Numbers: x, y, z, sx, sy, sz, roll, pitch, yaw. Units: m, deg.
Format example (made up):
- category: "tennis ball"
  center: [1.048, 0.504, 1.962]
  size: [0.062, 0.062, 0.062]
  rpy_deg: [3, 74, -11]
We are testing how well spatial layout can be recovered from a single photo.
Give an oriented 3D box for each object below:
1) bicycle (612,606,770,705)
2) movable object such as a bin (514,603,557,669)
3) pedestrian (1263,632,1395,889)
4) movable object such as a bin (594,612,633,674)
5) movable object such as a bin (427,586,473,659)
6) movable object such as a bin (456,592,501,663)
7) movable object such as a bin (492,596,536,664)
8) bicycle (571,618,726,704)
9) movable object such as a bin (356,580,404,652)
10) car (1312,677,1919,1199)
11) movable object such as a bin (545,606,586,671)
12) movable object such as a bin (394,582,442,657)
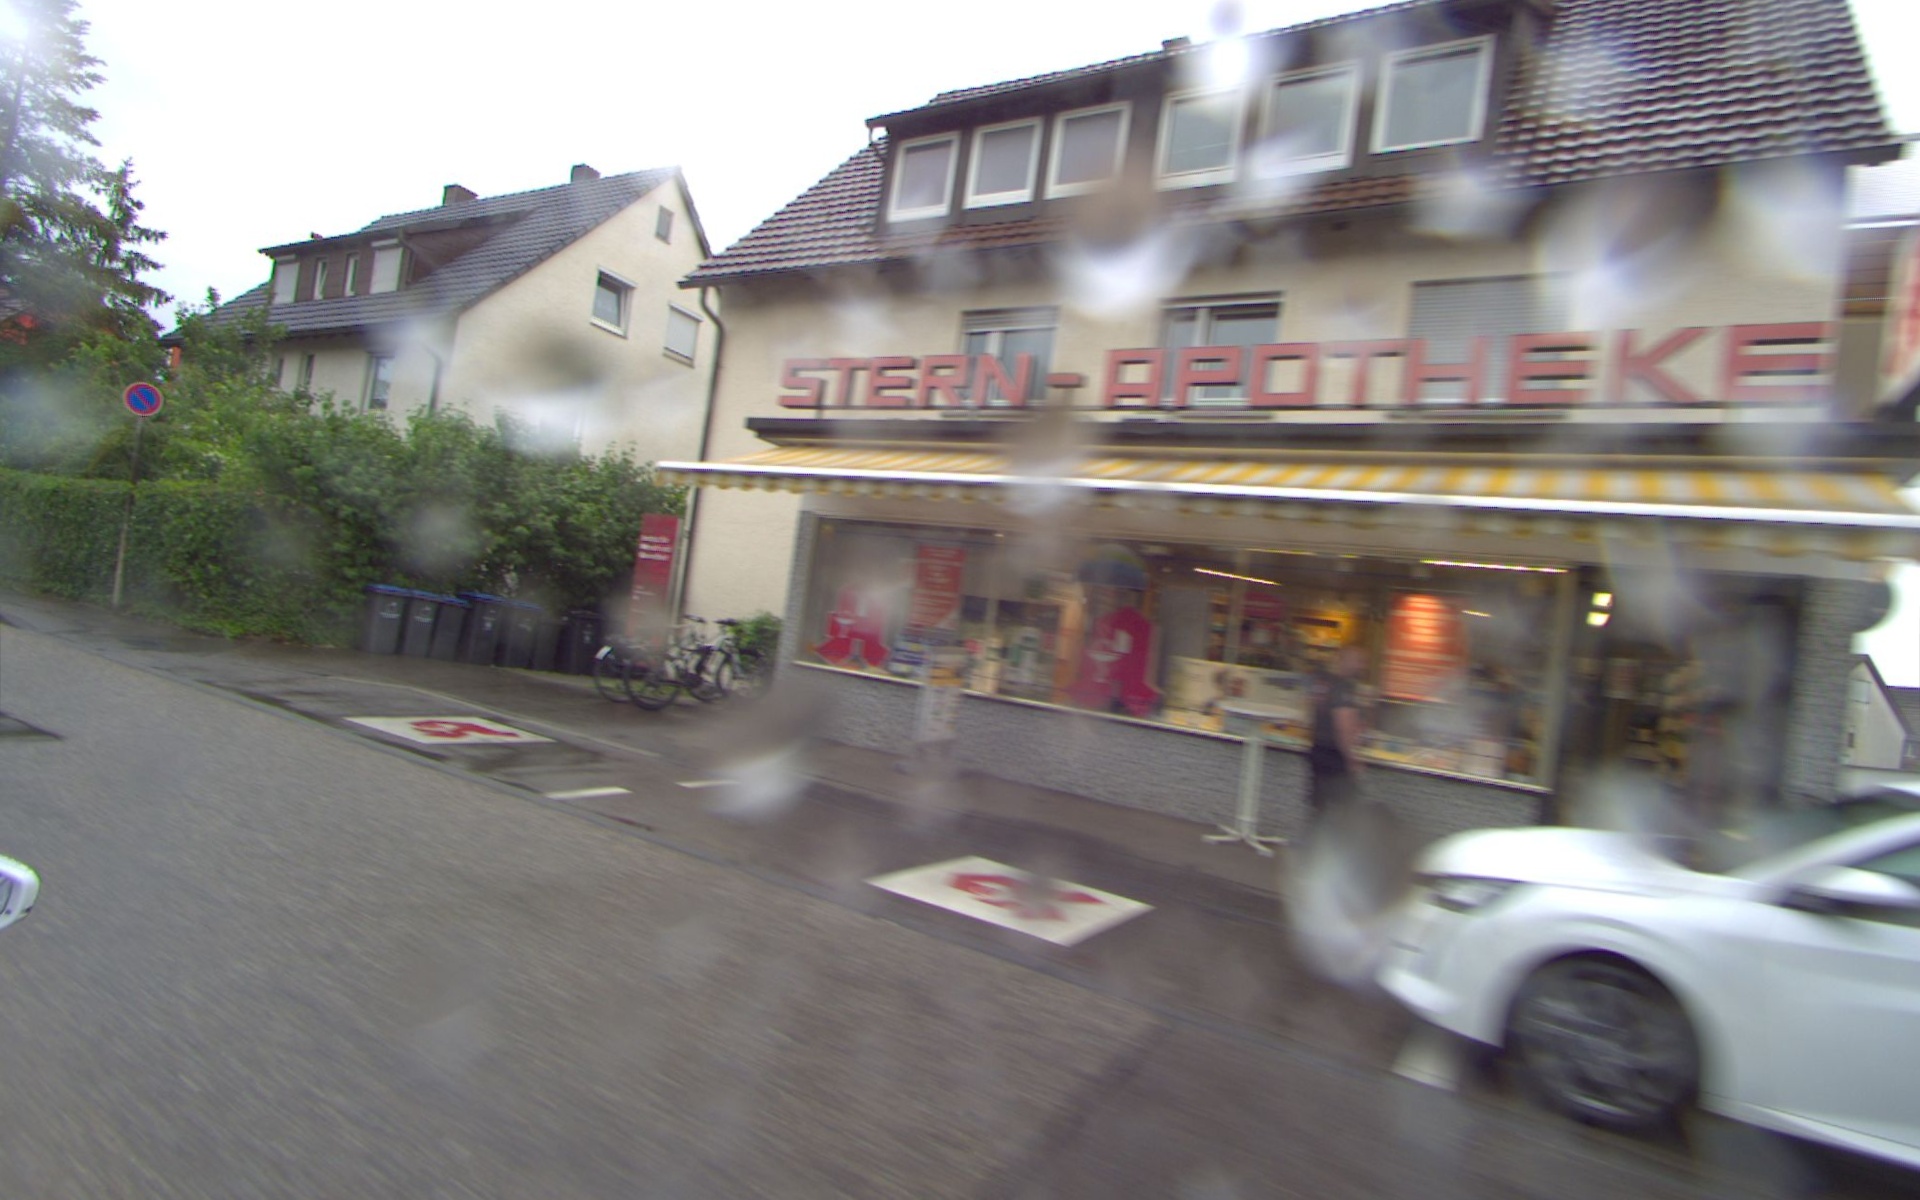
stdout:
- category: "bicycle"
  center: [-3.154, 0.667, 11.870]
  size: [1.637, 1.061, 0.616]
  rpy_deg: [4, 2, -39]
- category: "movable object such as a bin"
  center: [-6.768, 0.574, 16.041]
  size: [0.349, 0.998, 0.367]
  rpy_deg: [7, -1, 30]
- category: "pedestrian"
  center: [2.609, 1.108, 7.159]
  size: [0.508, 1.697, 0.551]
  rpy_deg: [8, -1, -4]
- category: "movable object such as a bin"
  center: [-5.853, 0.730, 17.011]
  size: [0.349, 0.998, 0.367]
  rpy_deg: [7, -1, 30]
- category: "movable object such as a bin"
  center: [-7.459, 0.330, 14.717]
  size: [0.349, 0.998, 0.367]
  rpy_deg: [7, -1, 30]
- category: "movable object such as a bin"
  center: [-7.242, 0.415, 15.129]
  size: [0.349, 0.998, 0.367]
  rpy_deg: [7, -1, 30]
- category: "movable object such as a bin"
  center: [-6.941, 0.465, 15.656]
  size: [0.349, 0.998, 0.367]
  rpy_deg: [7, -1, 30]
- category: "bicycle"
  center: [-3.760, 0.753, 12.218]
  size: [1.637, 0.945, 0.616]
  rpy_deg: [4, 2, -39]
- category: "movable object such as a bin"
  center: [-7.950, 0.217, 13.792]
  size: [0.322, 0.927, 0.367]
  rpy_deg: [7, -1, 30]
- category: "car"
  center: [3.737, 1.320, 3.771]
  size: [4.135, 1.465, 1.817]
  rpy_deg: [7, -1, 33]
- category: "movable object such as a bin"
  center: [-6.453, 0.635, 16.473]
  size: [0.349, 0.998, 0.367]
  rpy_deg: [7, -1, 30]
- category: "movable object such as a bin"
  center: [-7.700, 0.277, 14.291]
  size: [0.349, 0.998, 0.367]
  rpy_deg: [7, -1, 30]
